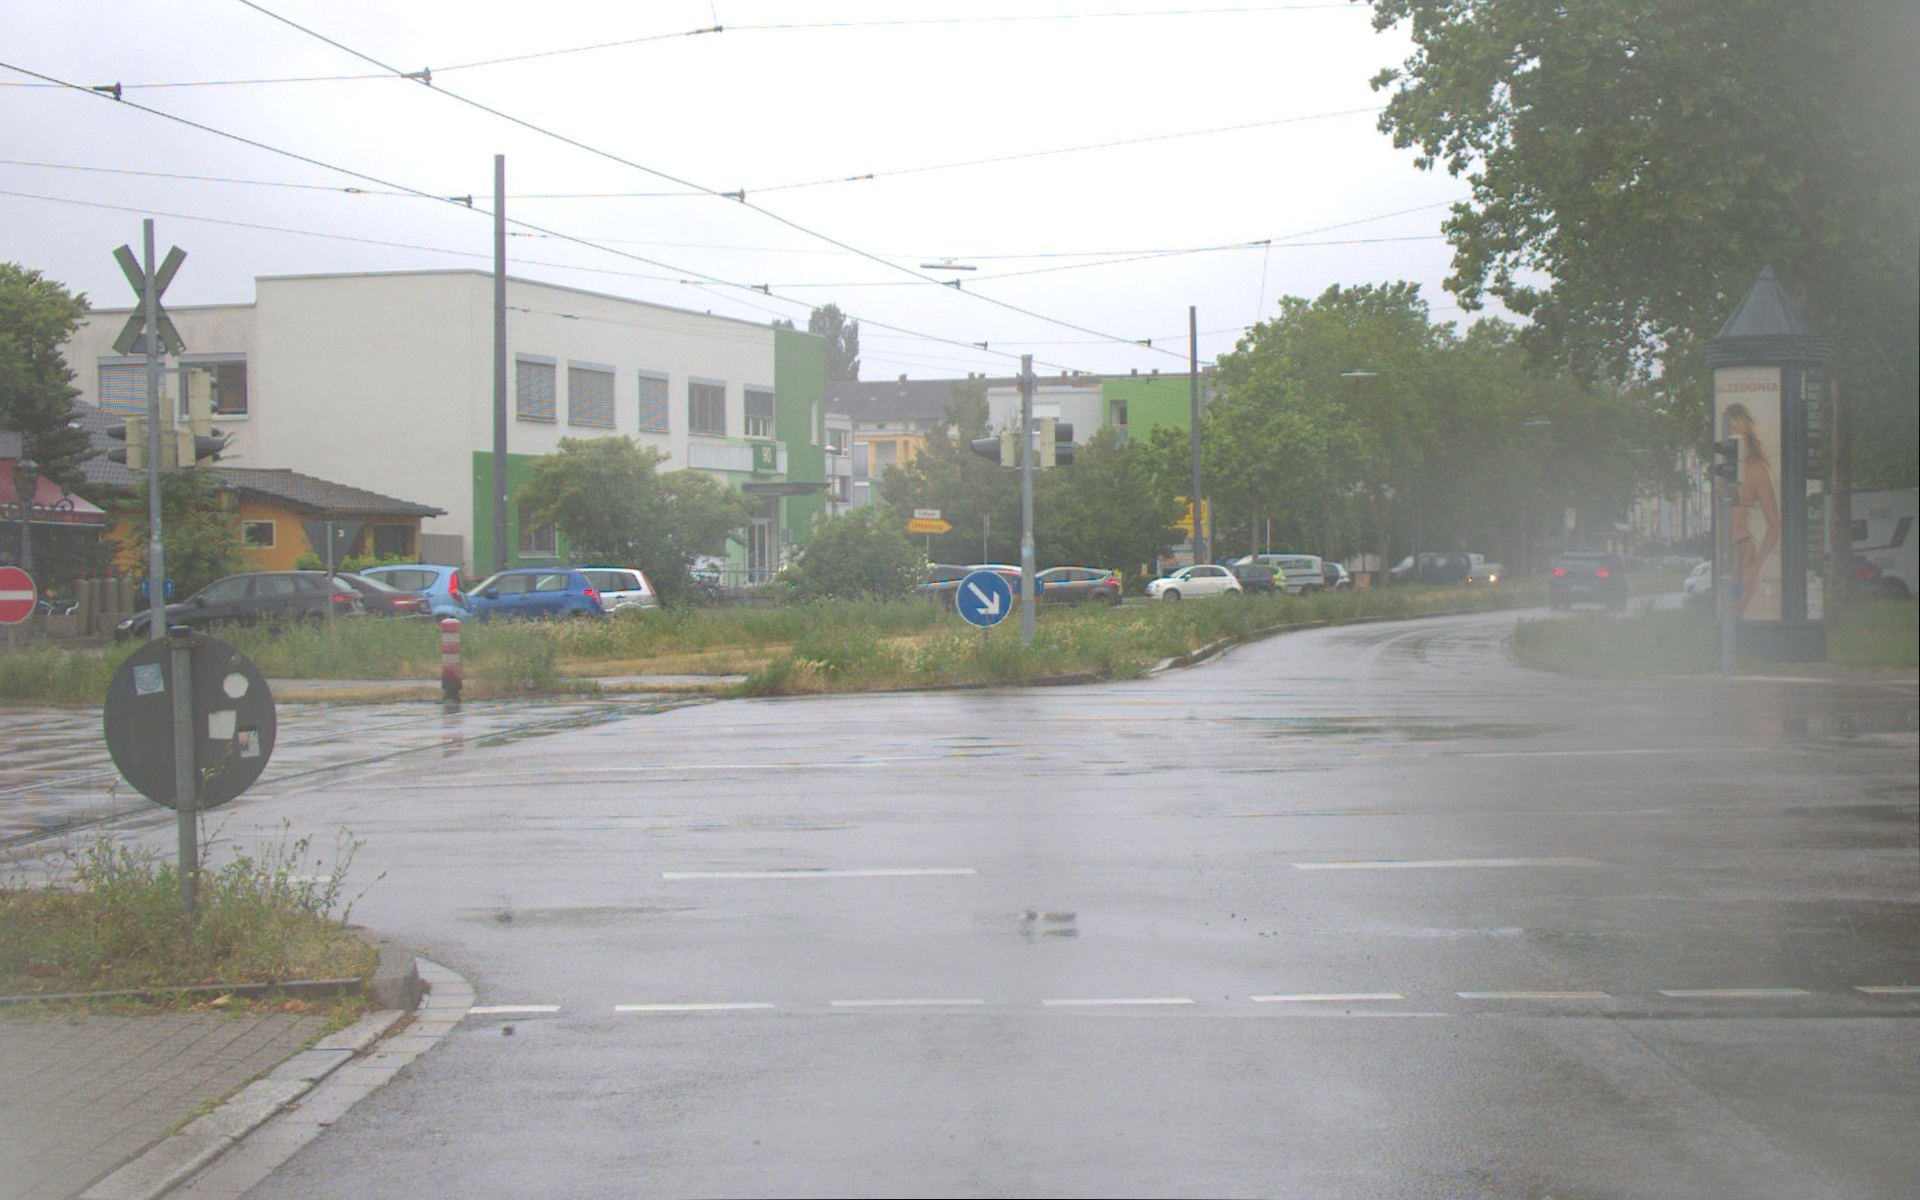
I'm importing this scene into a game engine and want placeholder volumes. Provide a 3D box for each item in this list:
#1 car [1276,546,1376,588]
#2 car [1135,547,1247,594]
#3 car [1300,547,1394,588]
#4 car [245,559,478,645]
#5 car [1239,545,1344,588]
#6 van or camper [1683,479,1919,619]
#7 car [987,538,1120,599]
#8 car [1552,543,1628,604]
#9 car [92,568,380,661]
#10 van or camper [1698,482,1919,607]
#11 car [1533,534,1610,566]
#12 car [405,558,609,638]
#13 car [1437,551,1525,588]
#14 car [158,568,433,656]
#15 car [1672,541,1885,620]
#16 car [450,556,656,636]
[{"bbox_3d":[16.375,-1.489,153.845,3.986,1.826,2.001,1,0,-11],"label":"car"},{"bbox_3d":[8.510,-1.087,126.766,3.773,1.697,1.837,1,0,-10],"label":"car"},{"bbox_3d":[17.896,-1.519,158.915,3.986,1.826,2.000,1,0,-5],"label":"car"},{"bbox_3d":[-11.250,0.030,64.783,3.987,1.576,1.858,0,0,4],"label":"car"},{"bbox_3d":[13.949,-1.394,144.825,3.986,1.752,2.011,1,0,-11],"label":"car"},{"bbox_3d":[20.847,-1.183,80.551,7.328,3.167,3.259,1,1,18],"label":"van or camper"},{"bbox_3d":[2.967,-1.018,110.090,3.986,1.881,2.000,1,0,-7],"label":"car"},{"bbox_3d":[18.016,-0.750,98.203,1.807,1.680,3.908,1,1,15],"label":"car"},{"bbox_3d":[-12.385,0.232,58.988,4.477,1.413,1.858,-2,0,1],"label":"car"},{"bbox_3d":[23.292,-1.432,89.678,7.434,3.167,3.259,1,1,22],"label":"van or camper"},{"bbox_3d":[35.317,-2.884,198.683,3.986,1.826,2.000,1,0,-5],"label":"car"},{"bbox_3d":[-9.222,-0.046,69.804,3.986,1.576,1.930,0,0,-11],"label":"car"},{"bbox_3d":[26.379,-1.555,174.117,3.986,1.826,2.000,1,0,-5],"label":"car"},{"bbox_3d":[-11.832,0.200,61.396,4.497,1.413,1.858,-2,0,1],"label":"car"},{"bbox_3d":[18.479,-0.447,77.590,4.449,1.711,1.998,1,1,21],"label":"car"},{"bbox_3d":[-8.644,-0.092,72.911,4.107,1.635,1.930,-1,0,-14],"label":"car"}]
